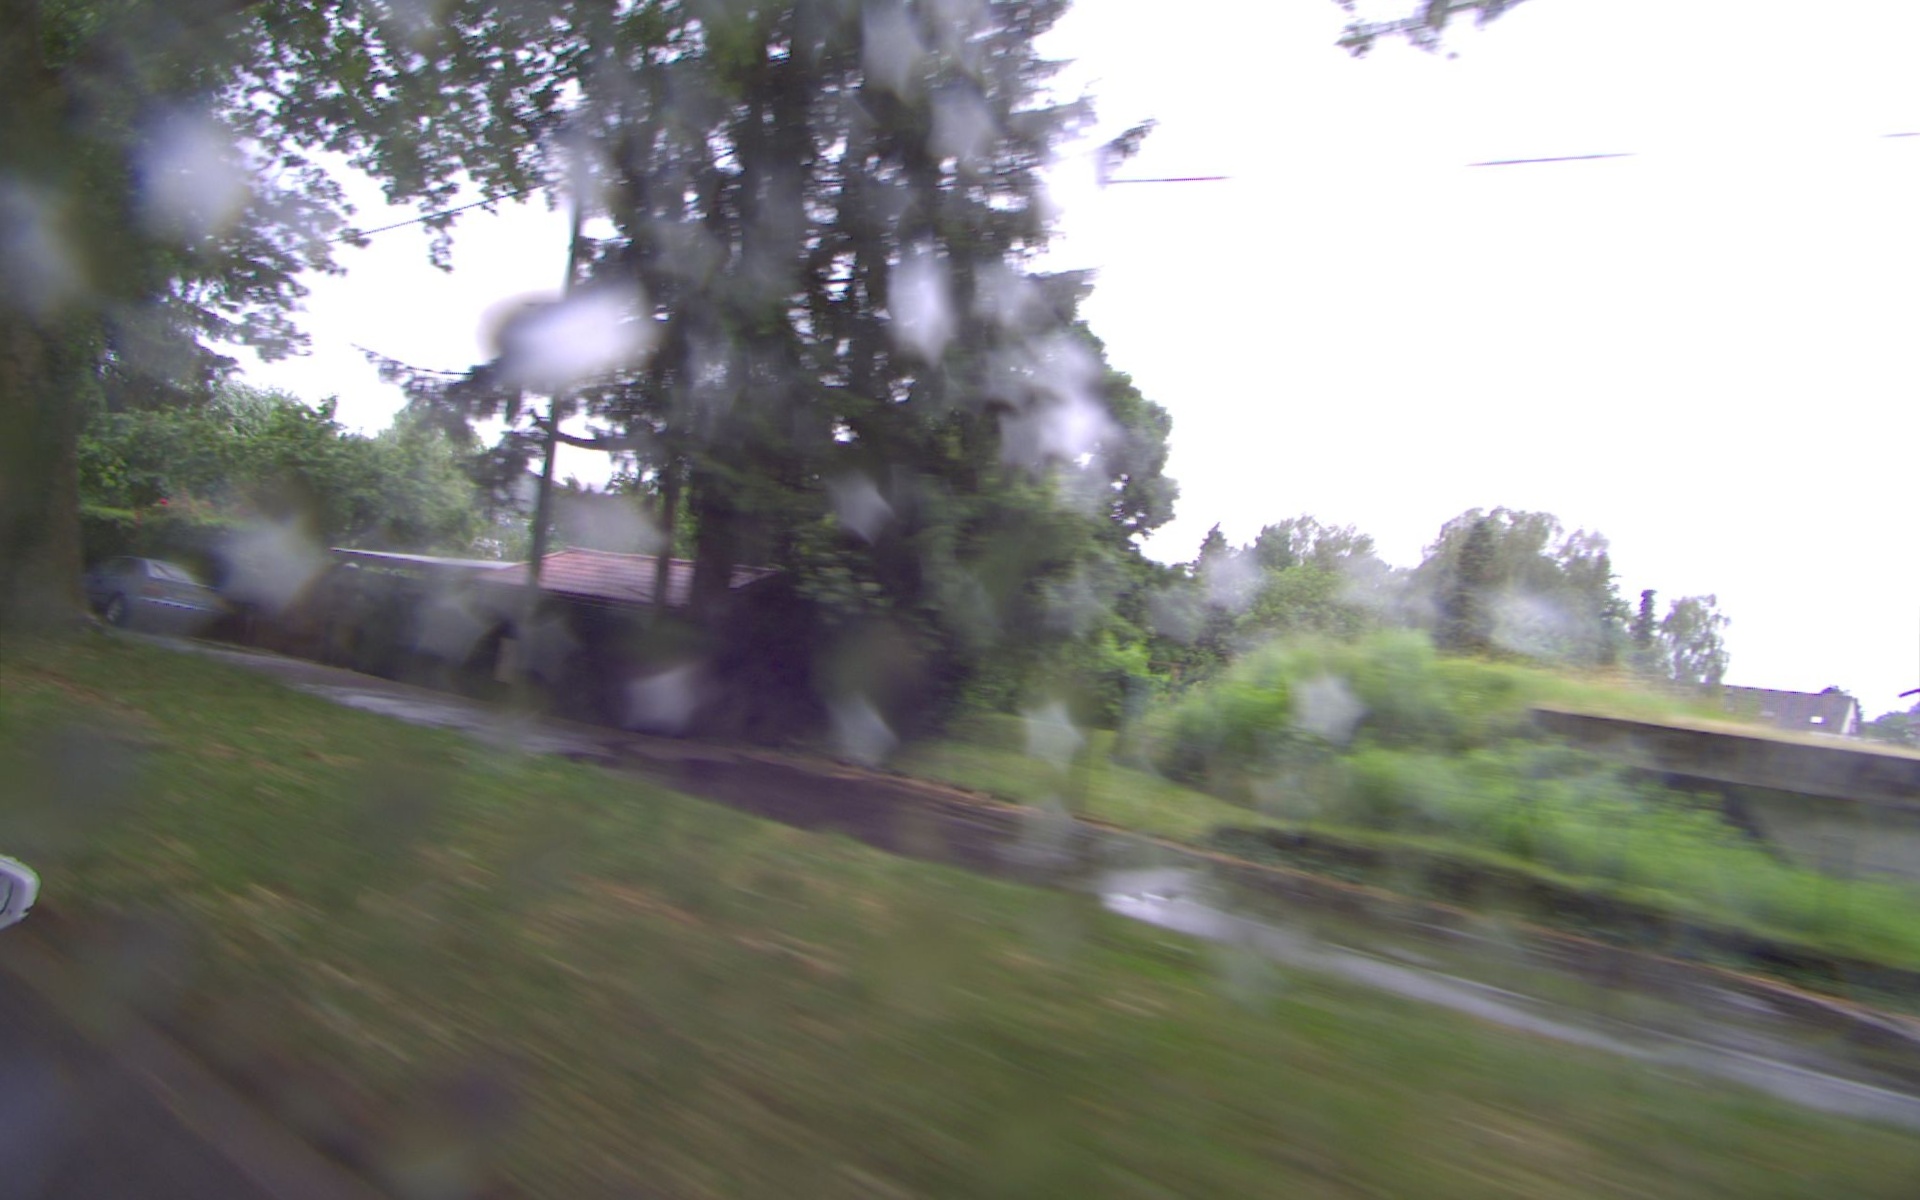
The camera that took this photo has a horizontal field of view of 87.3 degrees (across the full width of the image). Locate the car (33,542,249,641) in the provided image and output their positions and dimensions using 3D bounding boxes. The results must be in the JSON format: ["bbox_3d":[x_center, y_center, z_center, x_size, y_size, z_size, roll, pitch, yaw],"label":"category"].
[{"bbox_3d":[-16.750,-0.185,20.577,3.929,1.337,1.806,7,-7,27],"label":"car"}]
